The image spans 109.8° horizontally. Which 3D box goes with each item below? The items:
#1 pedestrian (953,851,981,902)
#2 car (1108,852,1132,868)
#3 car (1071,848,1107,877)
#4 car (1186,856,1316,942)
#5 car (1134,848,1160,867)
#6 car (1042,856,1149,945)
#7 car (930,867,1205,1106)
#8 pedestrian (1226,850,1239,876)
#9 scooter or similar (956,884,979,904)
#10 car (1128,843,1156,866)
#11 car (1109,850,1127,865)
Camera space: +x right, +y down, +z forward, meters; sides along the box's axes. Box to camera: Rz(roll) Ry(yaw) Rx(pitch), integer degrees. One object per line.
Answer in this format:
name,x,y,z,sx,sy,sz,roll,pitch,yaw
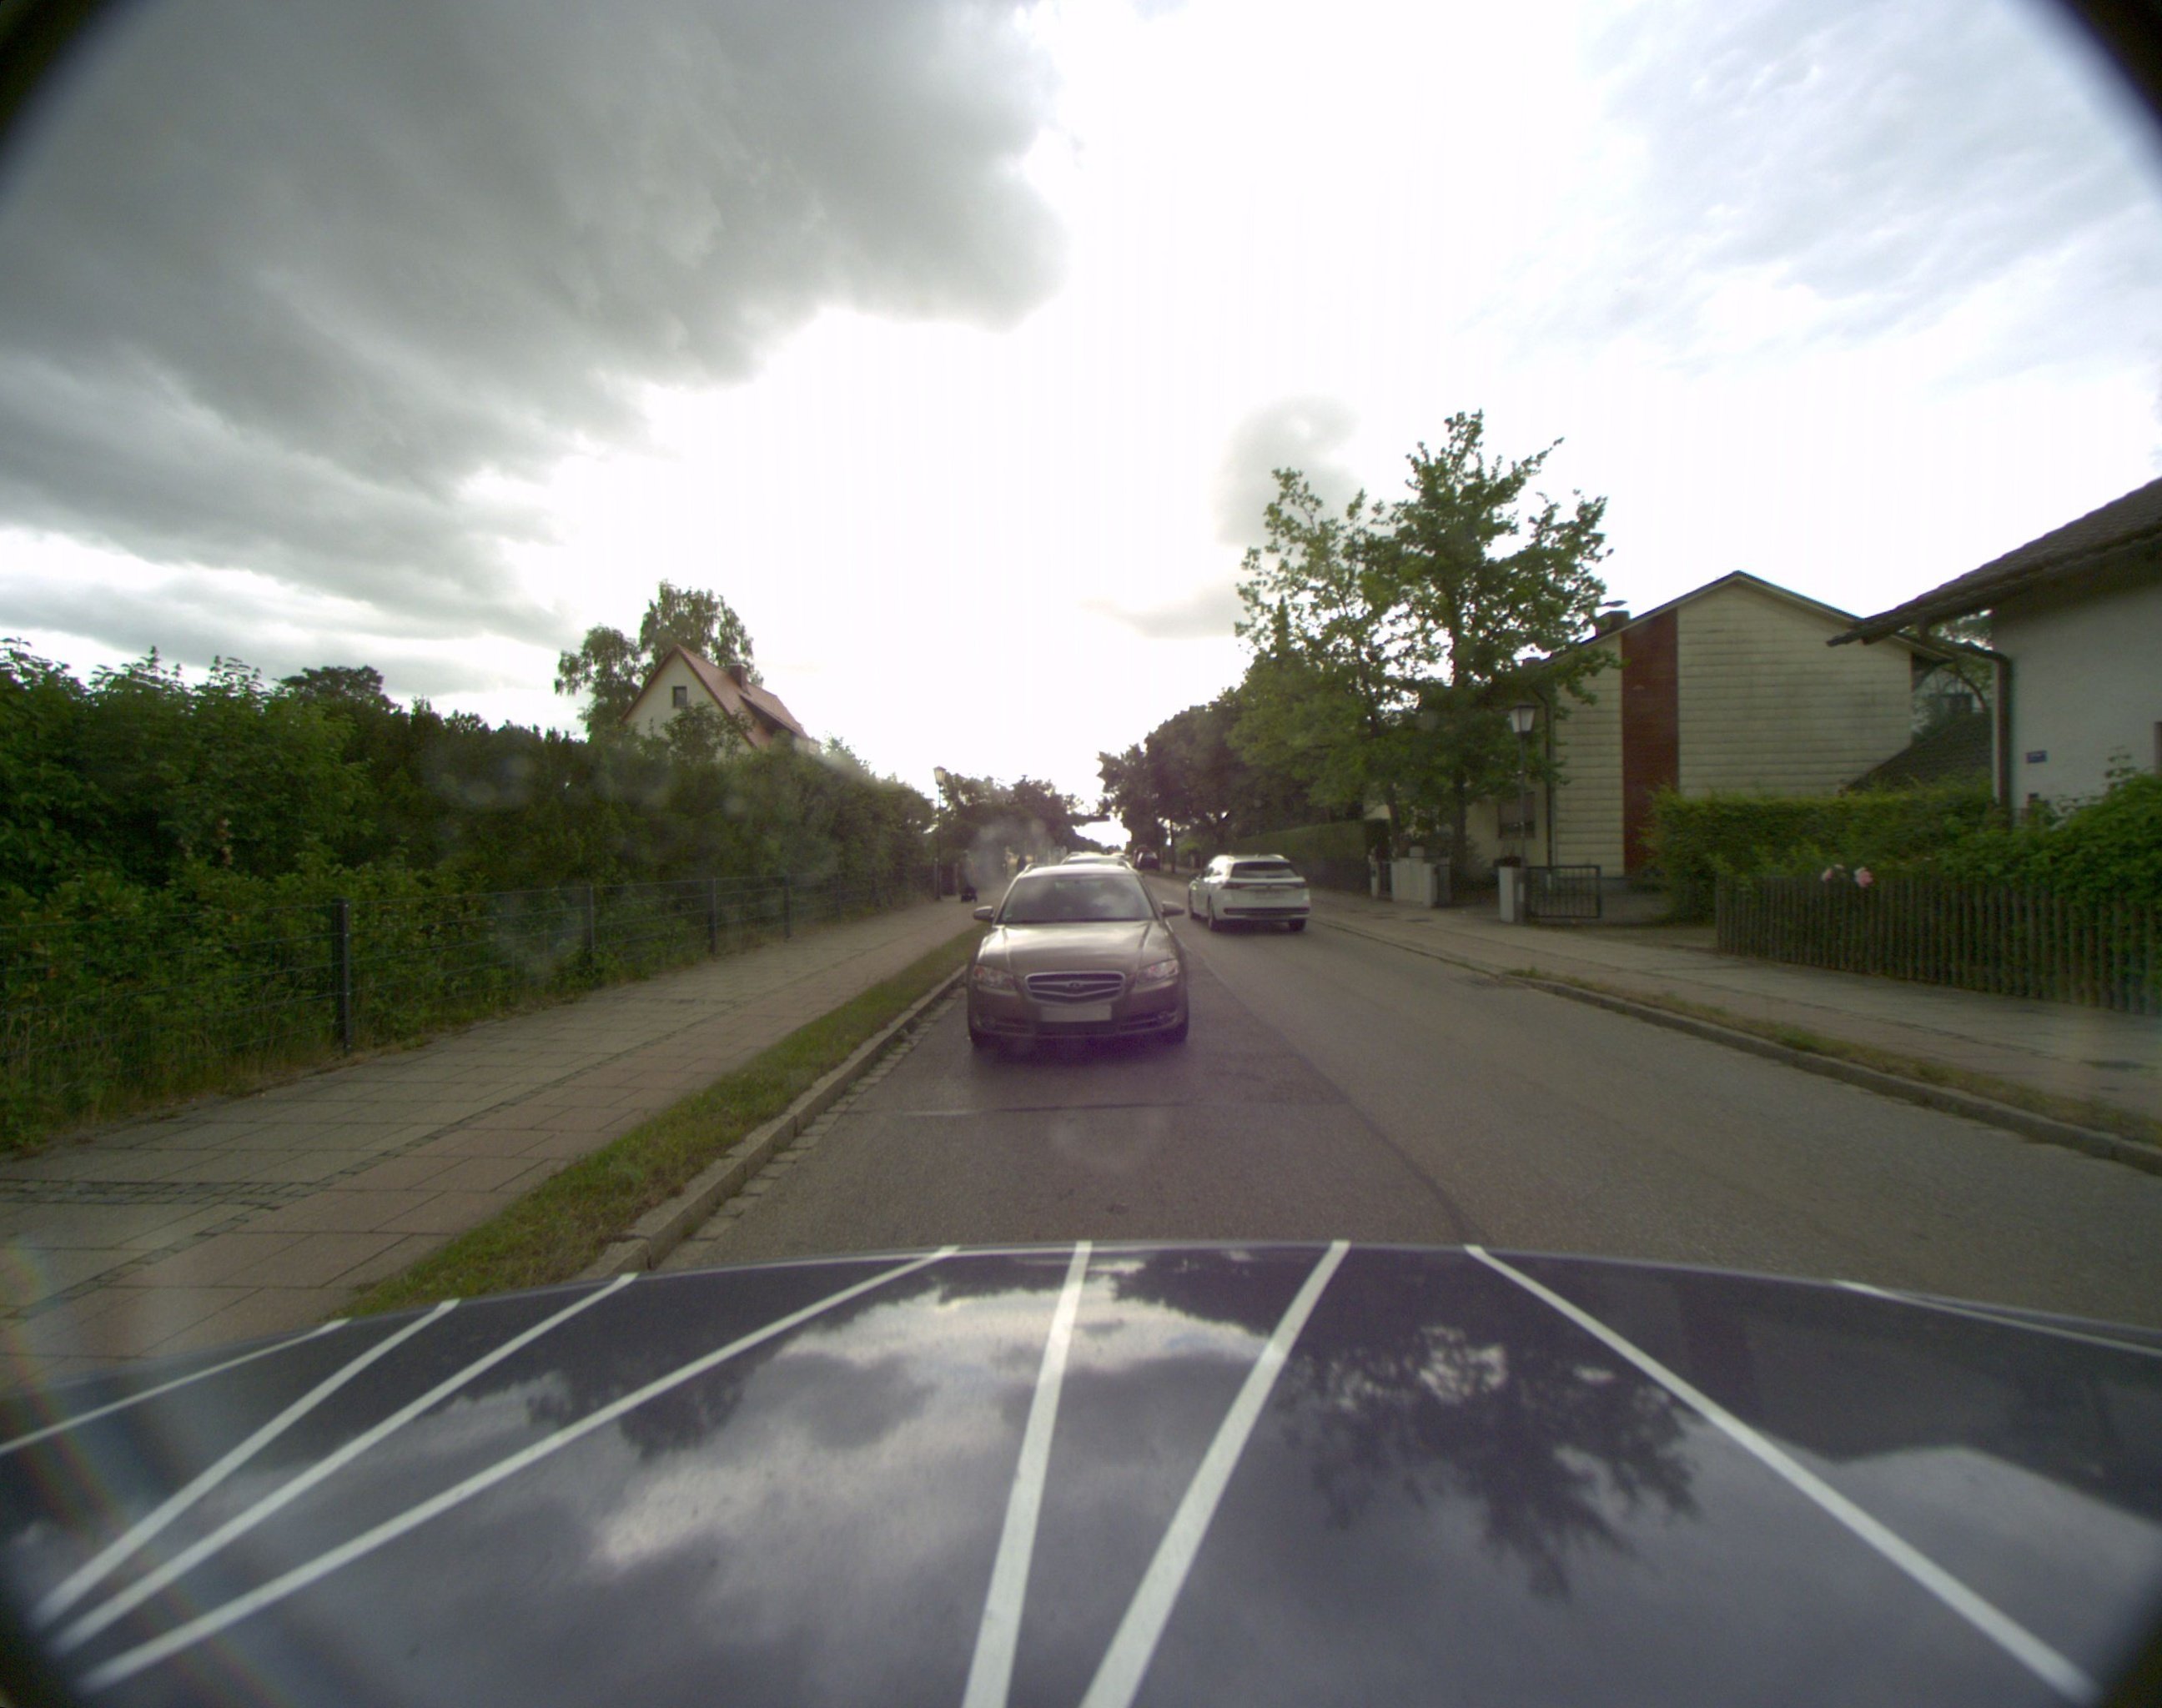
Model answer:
pedestrian,-3.600,0.700,24.042,0.792,1.592,0.671,-1,1,-2
car,3.400,0.523,66.546,2.029,1.361,4.000,-1,0,2
car,0.427,0.456,42.559,1.866,1.518,4.122,-2,0,0
car,3.340,0.808,15.759,1.756,1.475,4.375,-1,0,1
car,6.109,0.299,70.729,1.999,1.739,3.999,-1,0,-2
car,0.279,0.835,16.108,1.866,1.518,4.943,-2,0,0
car,-0.074,0.931,7.251,1.809,1.476,4.270,-2,0,0
pedestrian,8.487,0.483,42.629,0.631,1.429,0.563,-1,1,1
scooter or similar,-3.488,1.229,23.335,0.618,0.553,0.742,1,0,-3
car,6.130,0.043,76.425,2.246,2.258,4.469,-2,0,-2
car,4.198,0.364,85.748,1.854,1.576,4.000,-1,0,1
